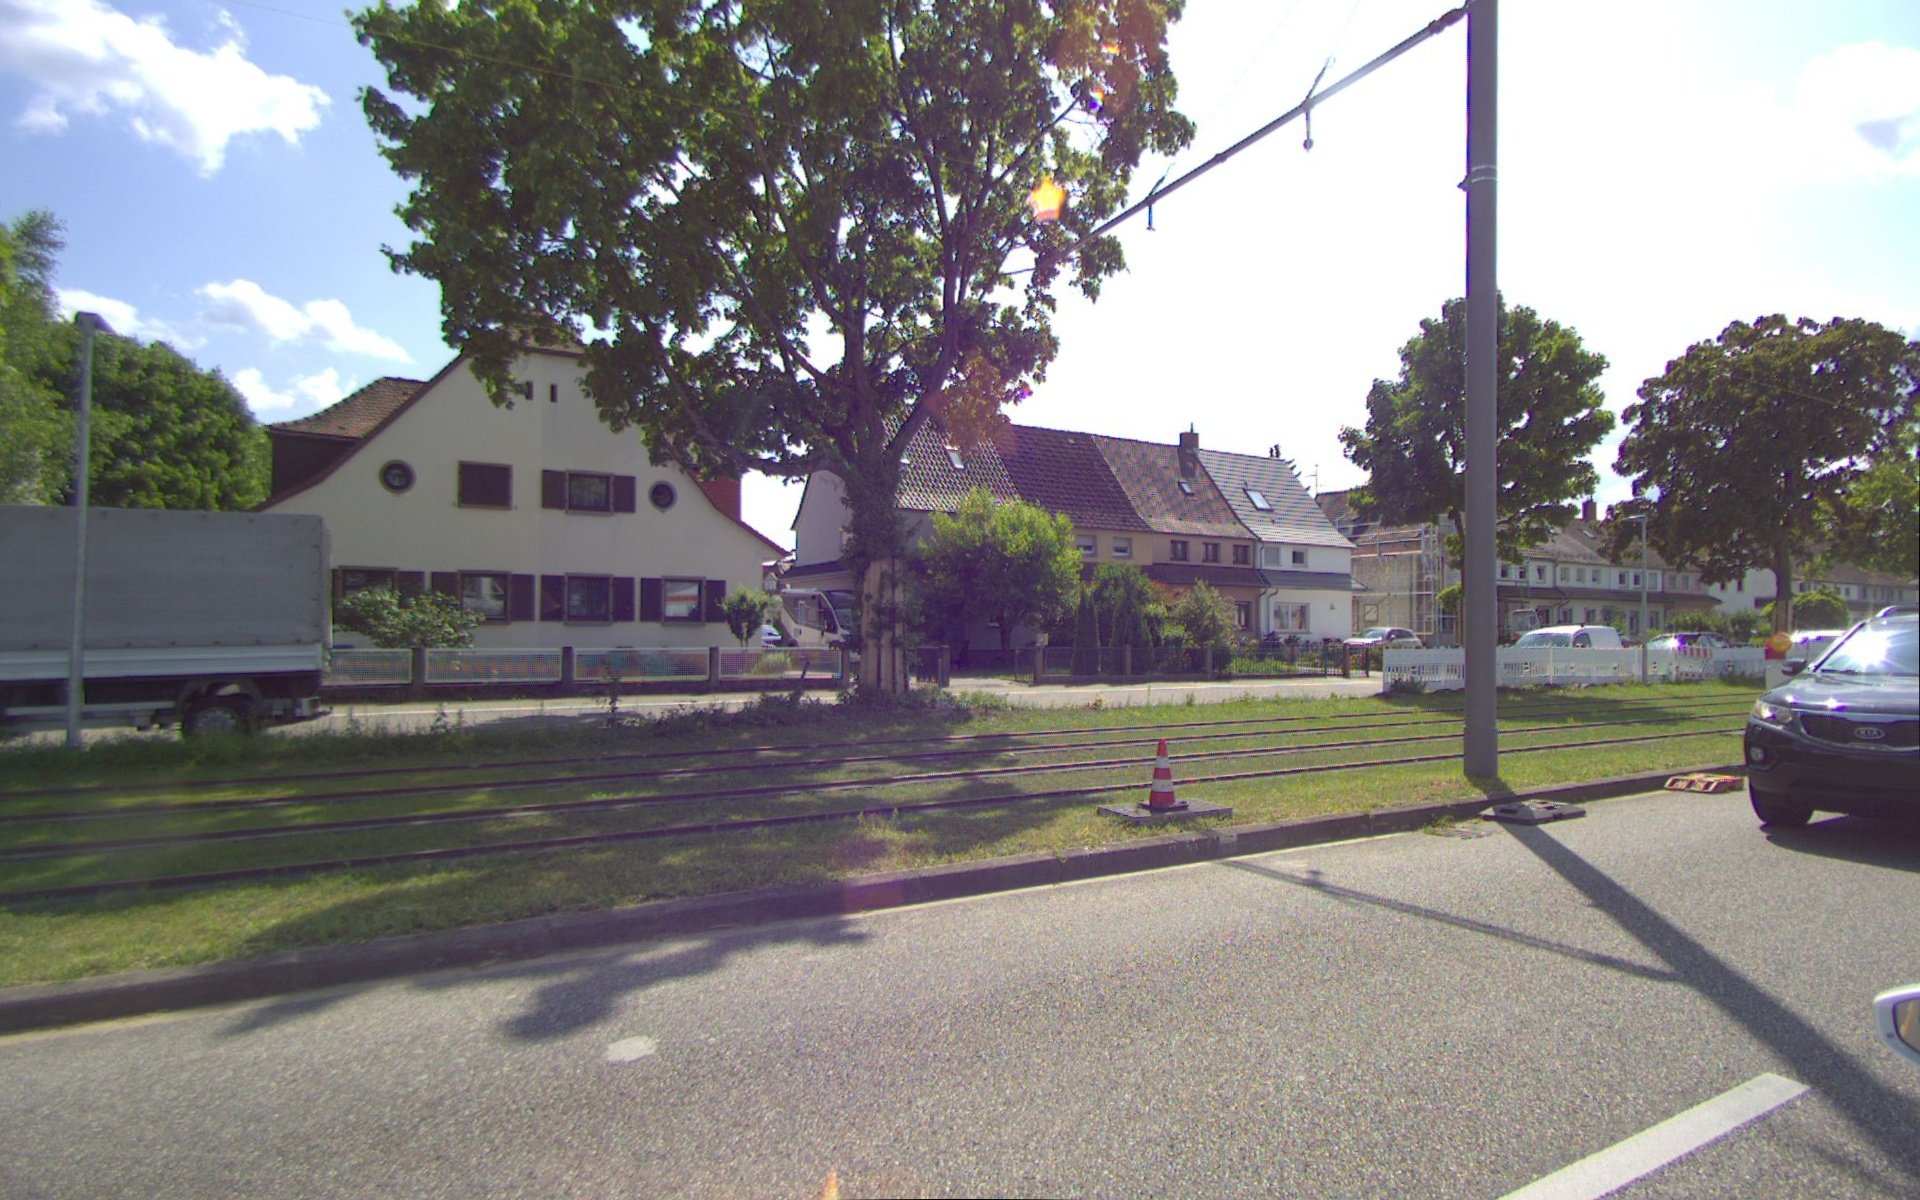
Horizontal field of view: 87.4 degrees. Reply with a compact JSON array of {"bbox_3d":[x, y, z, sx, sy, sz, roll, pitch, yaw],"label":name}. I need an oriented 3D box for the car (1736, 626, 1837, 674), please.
[{"bbox_3d":[30.268,1.852,36.783,3.854,1.673,1.615,2,-3,-30],"label":"car"}]

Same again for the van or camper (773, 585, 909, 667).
[{"bbox_3d":[-4.394,0.841,35.751,2.470,2.667,6.302,2,0,-30],"label":"van or camper"}]

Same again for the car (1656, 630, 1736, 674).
[{"bbox_3d":[23.448,1.671,32.014,2.417,1.365,1.069,2,-3,-27],"label":"car"}]

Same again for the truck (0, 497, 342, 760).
[{"bbox_3d":[-10.881,0.300,11.912,5.881,2.842,2.353,2,0,-30],"label":"truck"}]

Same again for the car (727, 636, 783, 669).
[{"bbox_3d":[-8.597,2.192,42.075,1.330,1.189,2.846,2,0,-33],"label":"car"}]

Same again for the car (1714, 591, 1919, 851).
[{"bbox_3d":[7.991,0.848,7.916,4.172,1.712,1.788,1,-3,-31],"label":"car"}]

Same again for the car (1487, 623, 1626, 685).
[{"bbox_3d":[16.805,1.518,28.273,3.954,1.647,1.645,2,-3,-30],"label":"car"}]

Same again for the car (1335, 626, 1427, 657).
[{"bbox_3d":[18.074,1.801,43.085,4.072,1.291,1.527,2,-3,-30],"label":"car"}]

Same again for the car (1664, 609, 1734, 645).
[{"bbox_3d":[44.570,1.651,60.571,3.954,2.040,1.983,2,0,-31],"label":"car"}]
